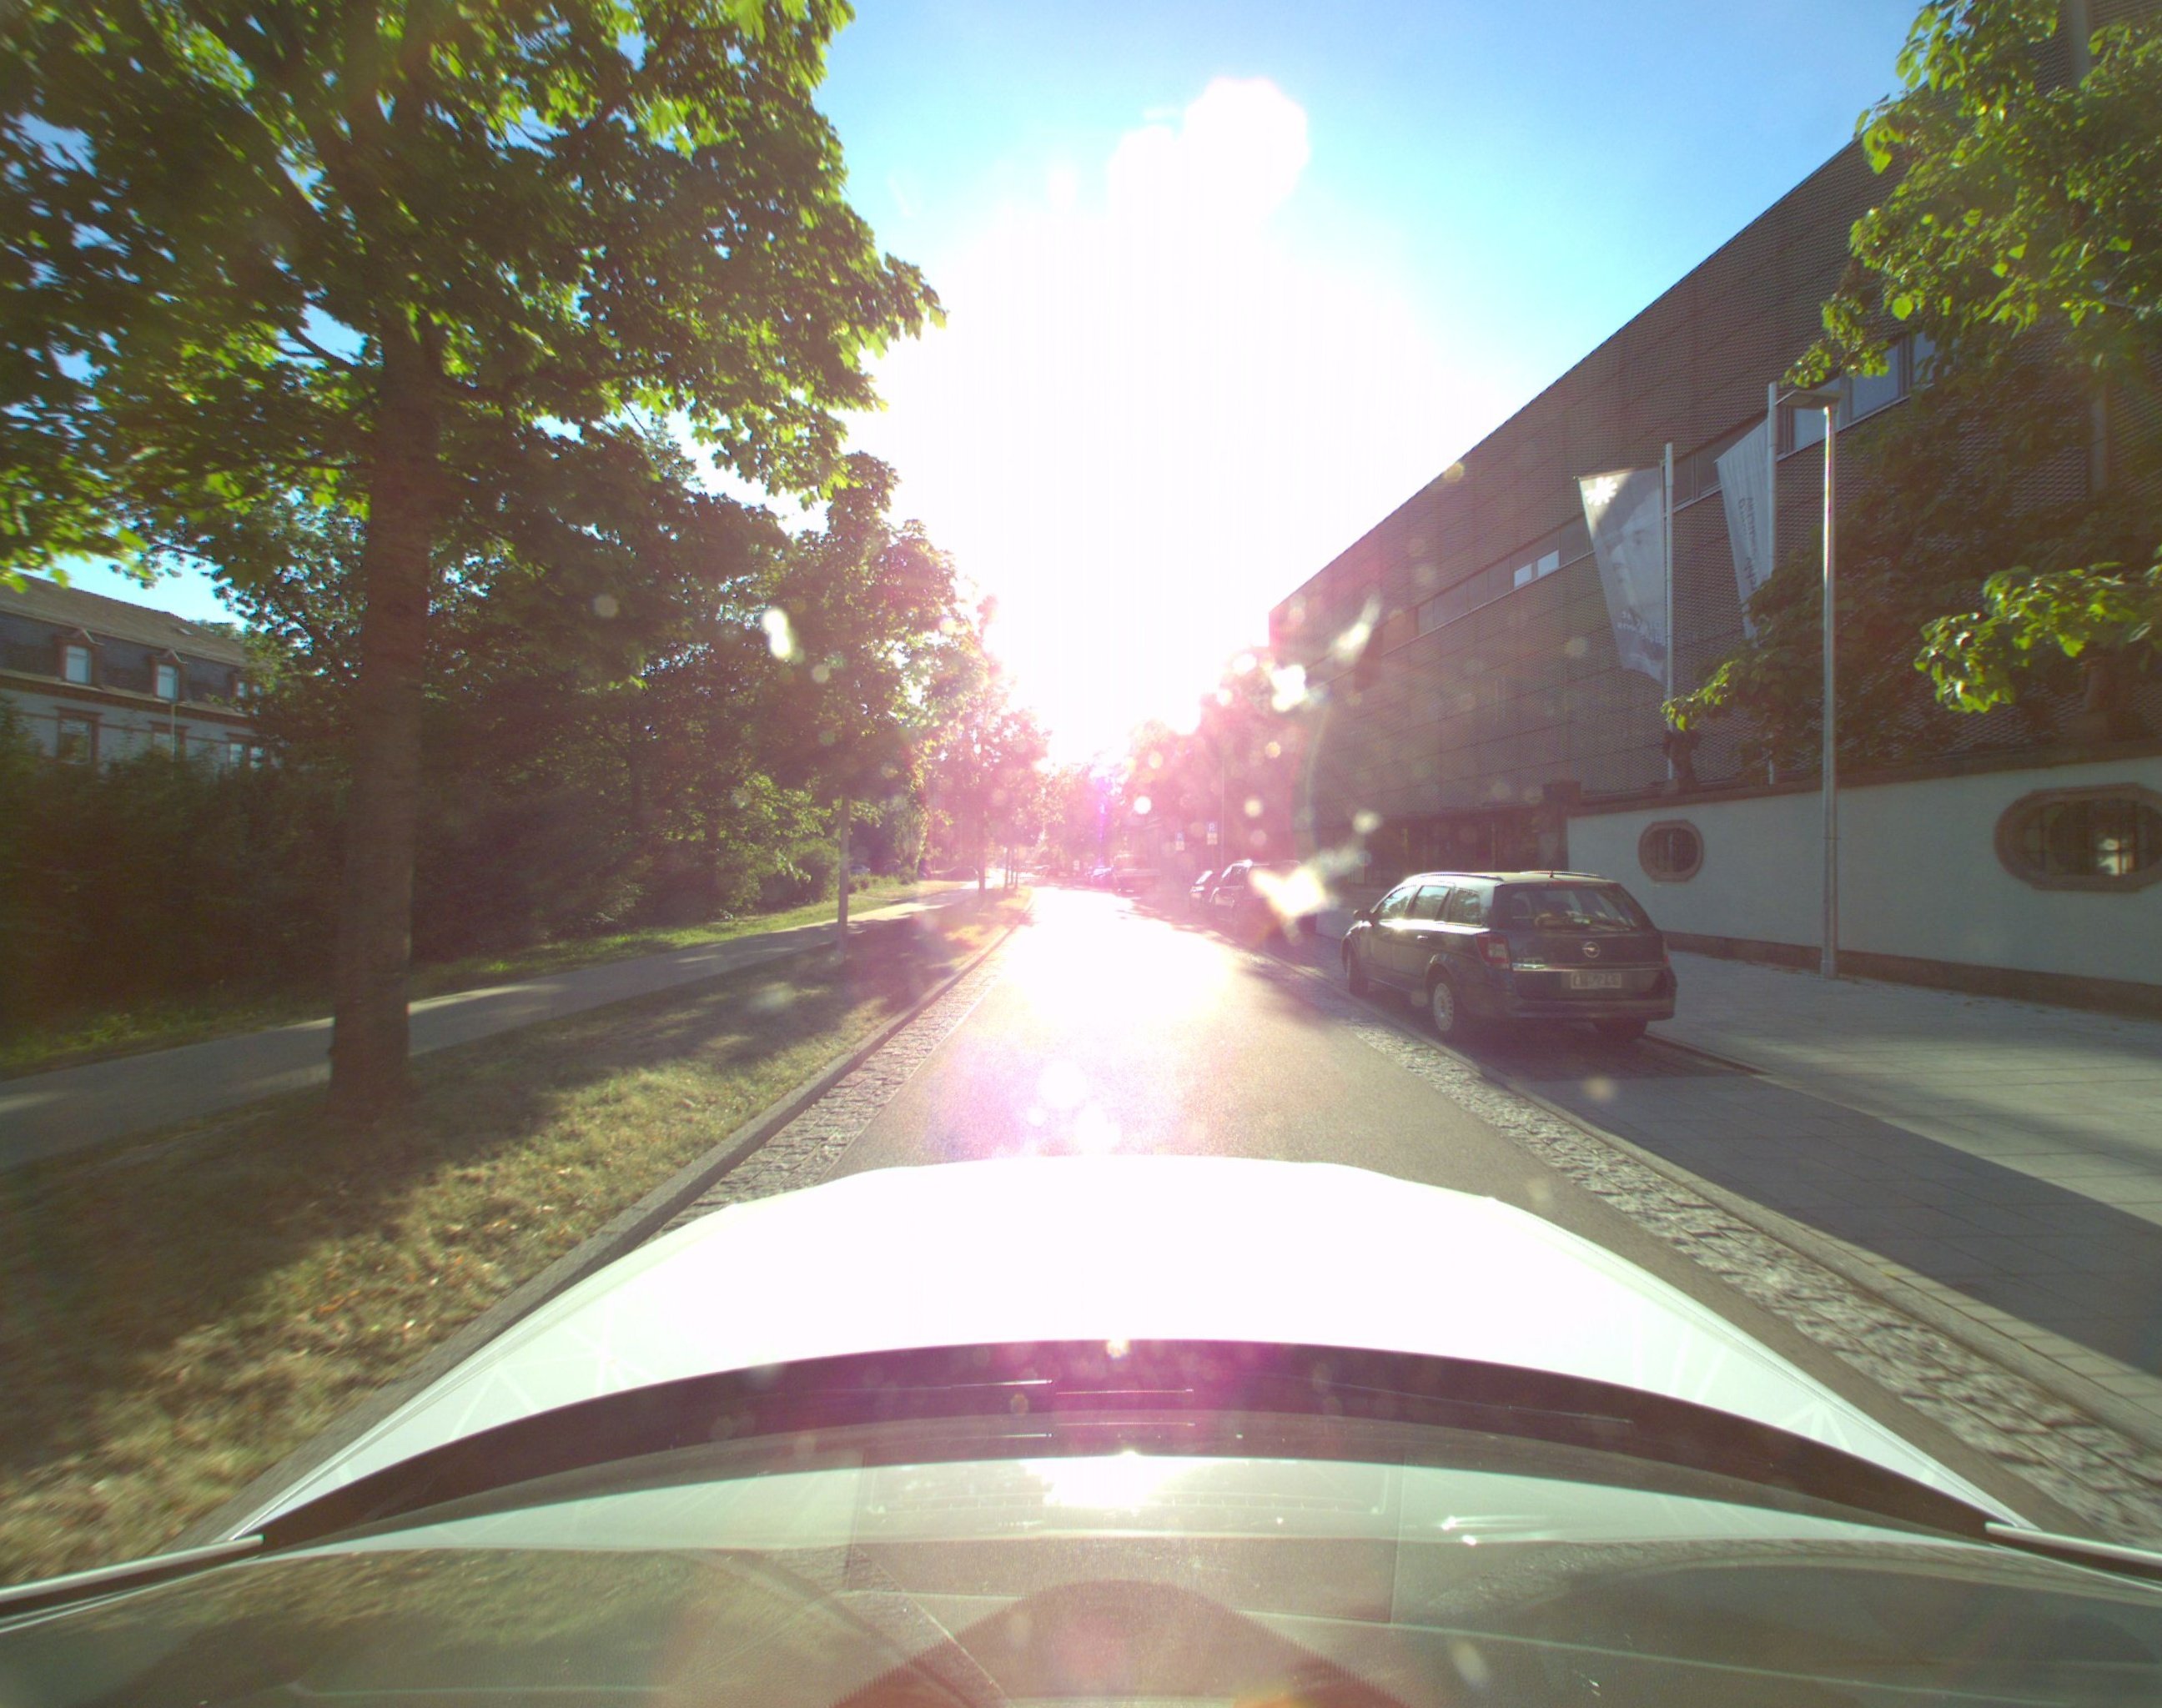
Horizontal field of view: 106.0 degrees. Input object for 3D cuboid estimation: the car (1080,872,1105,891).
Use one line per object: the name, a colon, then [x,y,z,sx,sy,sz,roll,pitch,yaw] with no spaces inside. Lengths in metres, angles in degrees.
car: [0.954,2.383,70.315,1.688,1.565,4.096,-1,-1,-5]

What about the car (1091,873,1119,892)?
car: [1.852,2.203,64.374,1.688,1.440,4.096,-1,-1,-5]

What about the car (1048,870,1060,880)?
car: [-4.045,3.154,122.725,1.788,1.510,3.998,1,-1,-1]

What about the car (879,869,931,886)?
car: [-15.076,1.981,69.834,4.012,1.420,1.754,1,-1,-31]

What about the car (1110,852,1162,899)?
car: [3.164,1.245,47.950,2.207,2.530,6.138,-2,-1,-4]

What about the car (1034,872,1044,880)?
car: [-7.800,4.083,152.442,1.790,1.510,3.994,1,-1,-4]

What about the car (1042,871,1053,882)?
car: [-5.671,3.739,136.799,1.790,1.725,3.994,1,-1,-4]

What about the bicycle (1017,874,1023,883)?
bicycle: [-9.044,3.618,120.488,0.686,1.202,2.342,1,-1,-1]

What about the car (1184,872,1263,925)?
car: [4.244,1.292,24.865,1.719,1.422,3.905,-1,-1,0]

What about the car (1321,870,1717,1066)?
car: [4.055,0.926,8.551,1.742,1.466,4.477,-2,-1,0]

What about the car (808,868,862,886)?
car: [-20.331,1.885,67.250,4.010,1.420,1.755,1,-1,-29]

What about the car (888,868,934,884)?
car: [-15.976,2.054,76.500,3.935,1.420,1.756,1,-1,-28]

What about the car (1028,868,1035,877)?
car: [-11.484,4.220,188.793,1.790,1.999,3.994,1,-1,-4]

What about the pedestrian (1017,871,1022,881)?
pedestrian: [-9.042,3.261,120.531,0.686,1.434,1.024,1,-1,-1]

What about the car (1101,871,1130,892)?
car: [2.473,2.005,59.201,1.688,1.440,3.543,-1,-1,-5]

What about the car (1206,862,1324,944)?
car: [4.151,1.053,19.022,1.719,1.669,4.111,-1,-1,-2]

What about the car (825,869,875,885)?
car: [-20.948,2.097,73.780,4.012,1.420,1.754,1,-1,-31]

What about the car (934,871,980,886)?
car: [-11.934,2.340,78.553,4.013,1.420,1.754,1,-1,-32]
